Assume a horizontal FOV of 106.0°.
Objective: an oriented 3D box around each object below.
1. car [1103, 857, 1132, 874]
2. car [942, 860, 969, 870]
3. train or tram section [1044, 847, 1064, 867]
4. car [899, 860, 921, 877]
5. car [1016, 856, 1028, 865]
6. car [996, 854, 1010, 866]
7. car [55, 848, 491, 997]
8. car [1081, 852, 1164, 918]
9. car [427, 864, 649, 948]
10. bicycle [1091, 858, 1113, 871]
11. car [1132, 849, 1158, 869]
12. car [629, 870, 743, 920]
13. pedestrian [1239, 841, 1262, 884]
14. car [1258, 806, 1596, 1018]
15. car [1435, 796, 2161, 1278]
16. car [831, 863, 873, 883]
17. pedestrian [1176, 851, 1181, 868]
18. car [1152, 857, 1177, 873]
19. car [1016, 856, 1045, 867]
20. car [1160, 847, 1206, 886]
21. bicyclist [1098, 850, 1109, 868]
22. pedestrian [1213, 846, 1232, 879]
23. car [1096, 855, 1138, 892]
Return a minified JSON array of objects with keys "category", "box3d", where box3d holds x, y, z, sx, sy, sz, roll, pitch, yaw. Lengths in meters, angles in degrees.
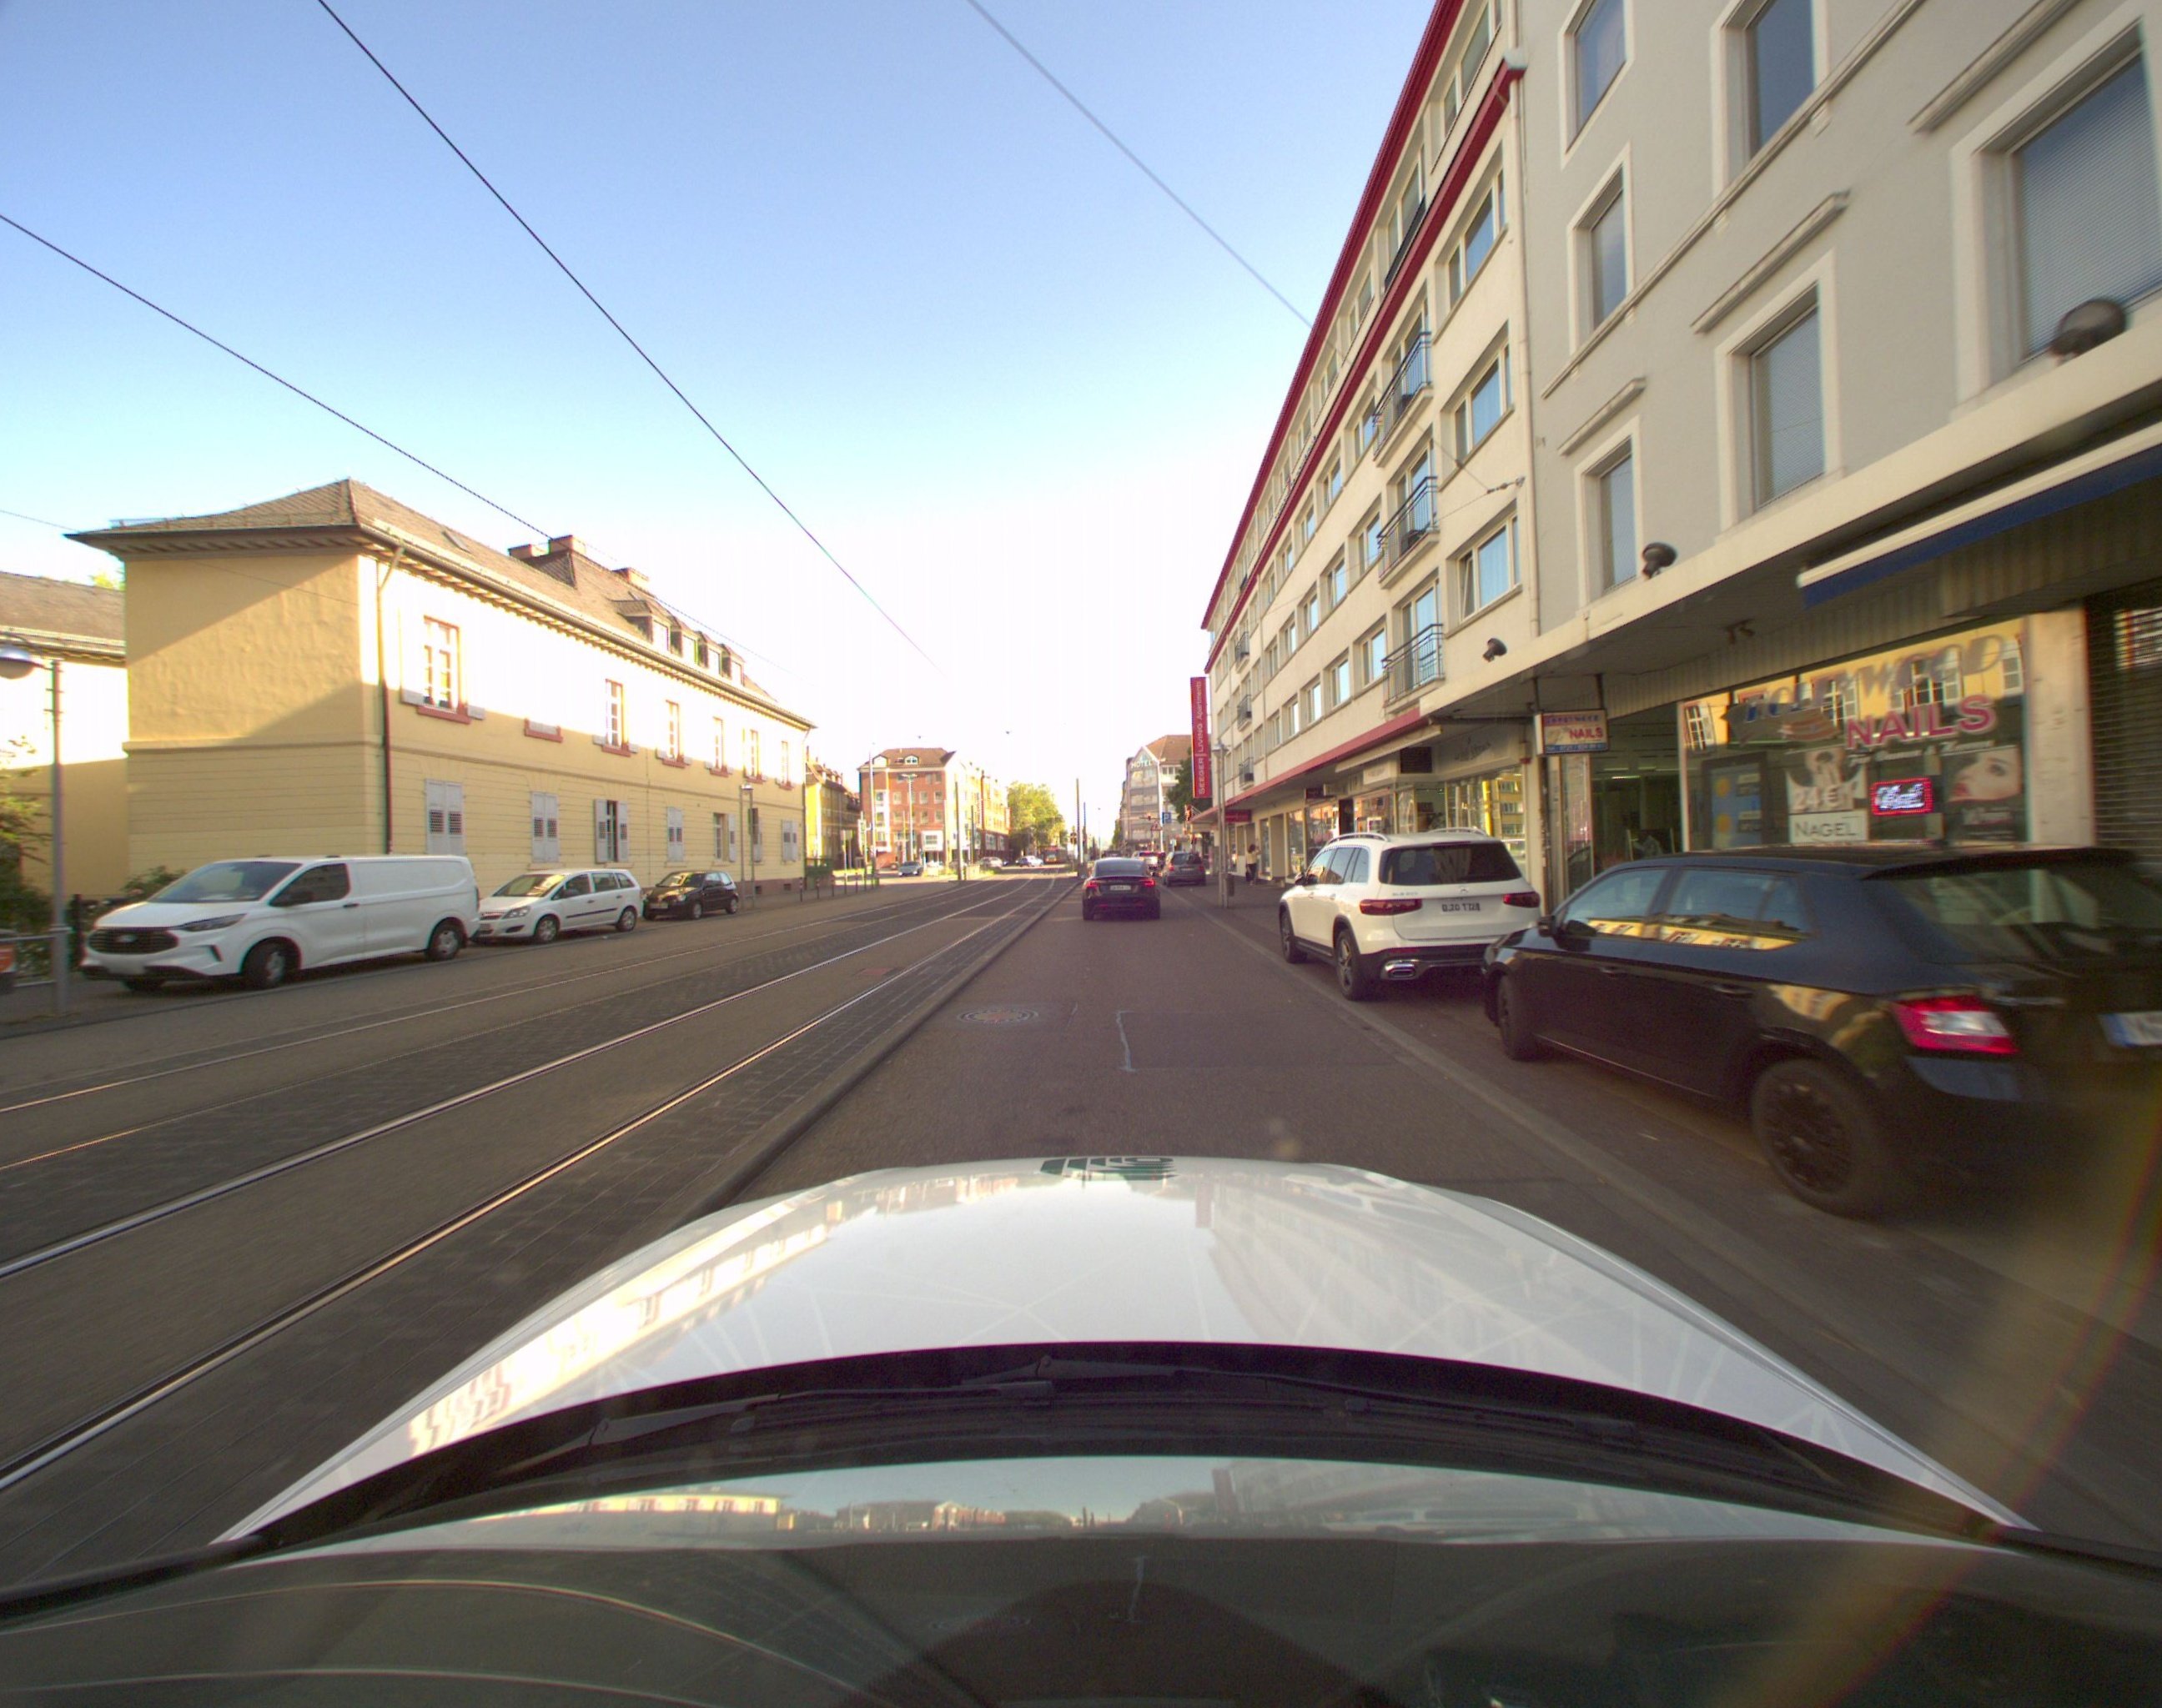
[{"category":"car","box3d":[3.411,1.058,76.579,1.825,1.519,4.202,0,0,-11]},{"category":"car","box3d":[-18.556,1.558,120.236,3.950,1.470,2.012,0,-1,44]},{"category":"train or tram section","box3d":[-4.976,0.579,153.204,2.663,3.715,14.201,0,0,3]},{"category":"car","box3d":[-16.588,1.414,79.222,1.881,1.495,4.912,-2,0,-10]},{"category":"car","box3d":[-10.903,1.234,151.873,1.744,1.651,4.003,0,0,3]},{"category":"car","box3d":[-14.240,1.132,148.905,1.985,2.013,4.003,-2,0,3]},{"category":"car","box3d":[-12.659,0.935,13.454,1.986,1.975,5.098,0,0,2]},{"category":"car","box3d":[0.976,0.708,20.080,1.842,1.484,3.788,0,-1,1]},{"category":"car","box3d":[-12.423,1.093,19.109,1.799,1.686,4.654,0,0,5]},{"category":"bicycle","box3d":[1.703,0.850,66.247,1.725,1.088,0.677,0,-1,-6]},{"category":"car","box3d":[5.176,0.410,66.467,1.778,1.519,4.216,0,0,-1]},{"category":"car","box3d":[-12.134,1.219,25.266,1.608,1.400,3.721,0,0,2]},{"category":"pedestrian","box3d":[7.182,0.343,34.518,0.797,1.774,0.936,-2,-1,16]},{"category":"car","box3d":[3.560,0.524,9.657,1.843,1.724,5.194,-4,-1,2]},{"category":"car","box3d":[3.696,0.587,4.670,1.608,1.528,4.071,-3,-1,2]},{"category":"car","box3d":[-17.747,1.436,63.312,1.894,1.464,4.004,0,0,4]},{"category":"pedestrian","box3d":[10.185,0.581,85.137,0.559,1.683,0.751,-1,0,7]},{"category":"car","box3d":[7.866,1.052,77.022,1.820,1.519,3.645,0,0,-3]},{"category":"car","box3d":[-7.093,1.039,114.907,1.974,1.420,4.025,0,-1,33]},{"category":"car","box3d":[4.674,0.539,37.684,1.738,1.632,3.651,-3,0,3]},{"category":"bicyclist","box3d":[1.831,0.422,66.285,0.835,1.500,0.559,0,-1,-6]},{"category":"pedestrian","box3d":[7.326,0.429,42.137,0.810,1.683,0.719,0,-1,25]},{"category":"car","box3d":[1.495,0.750,33.518,1.647,1.418,4.003,0,0,3]}]
